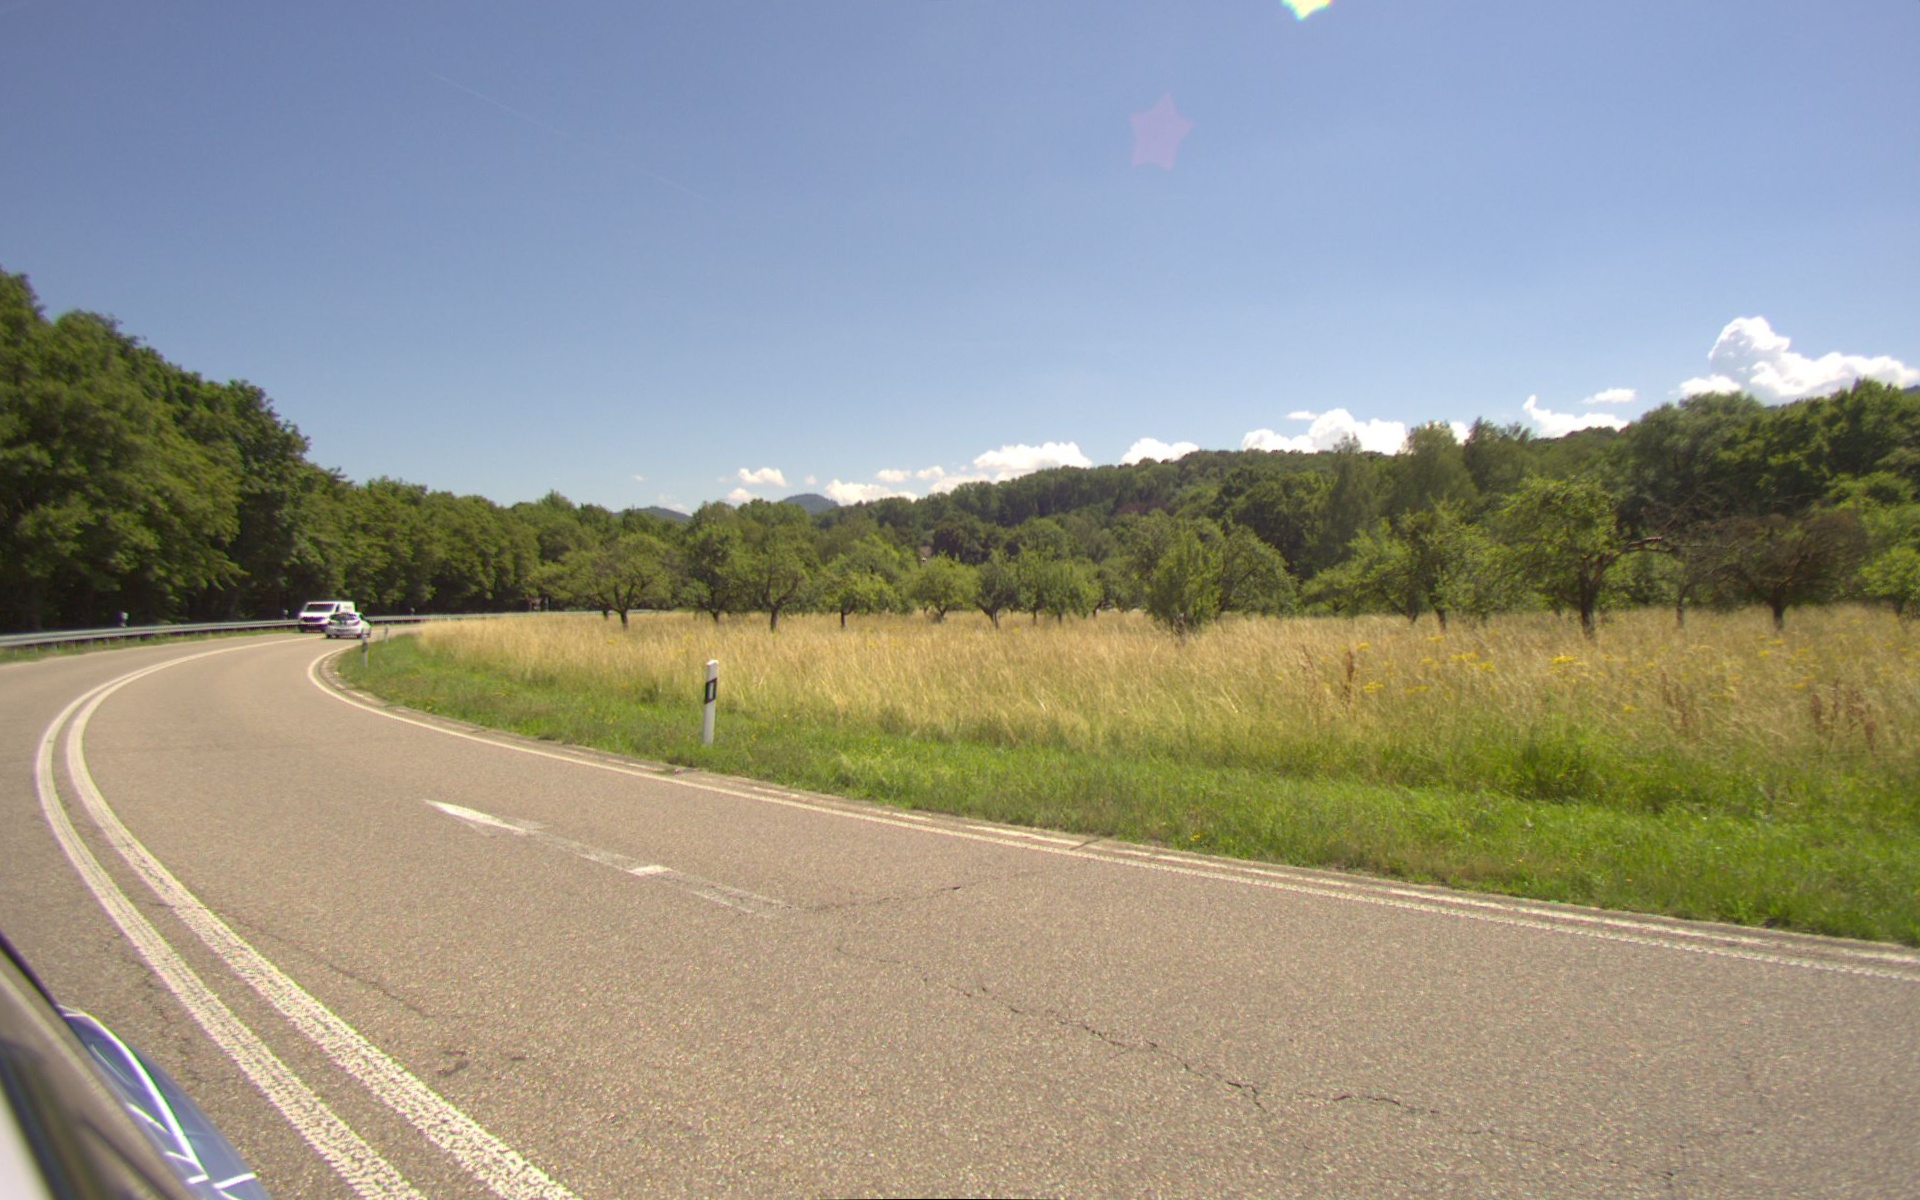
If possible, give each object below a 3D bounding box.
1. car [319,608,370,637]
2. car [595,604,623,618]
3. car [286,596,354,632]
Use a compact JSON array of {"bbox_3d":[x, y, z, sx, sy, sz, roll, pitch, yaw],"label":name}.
[{"bbox_3d":[-34.184,1.298,56.317,1.796,1.518,4.185,2,-2,-23],"label":"car"},{"bbox_3d":[-41.211,1.275,119.025,1.802,1.469,4.401,3,0,-1],"label":"car"},{"bbox_3d":[-41.498,0.863,65.765,2.188,2.048,5.443,3,0,-16],"label":"car"}]
